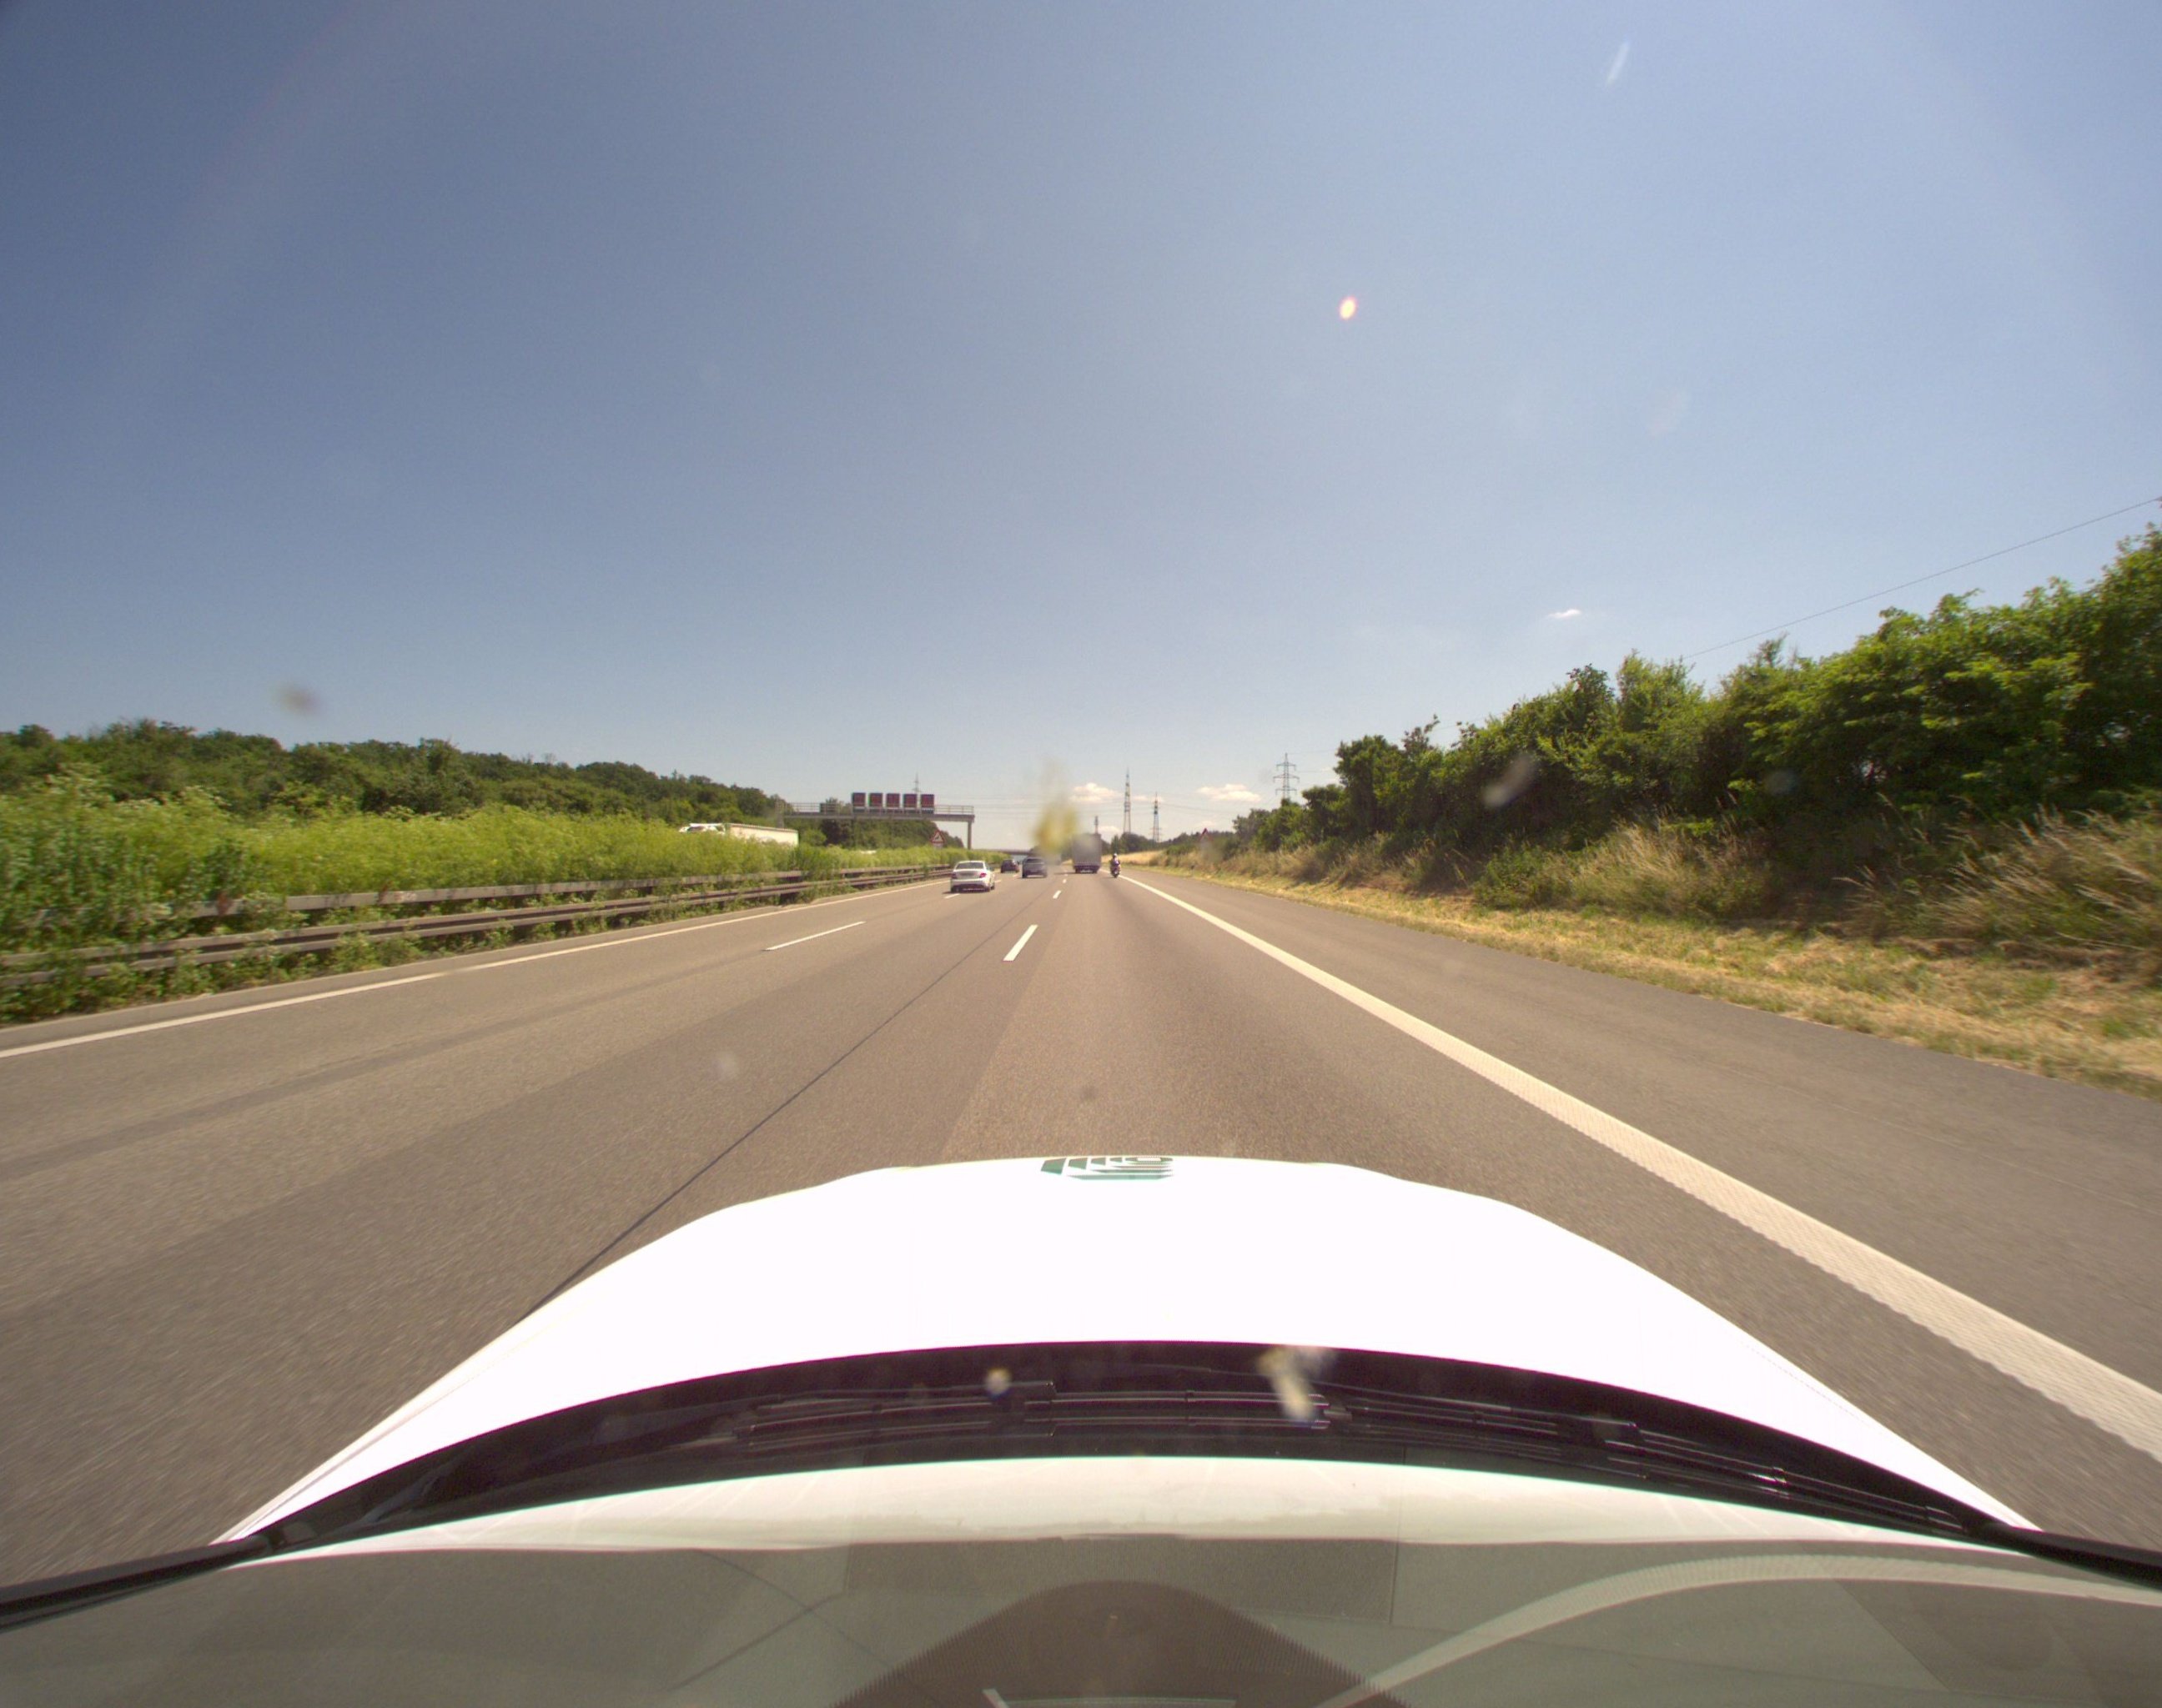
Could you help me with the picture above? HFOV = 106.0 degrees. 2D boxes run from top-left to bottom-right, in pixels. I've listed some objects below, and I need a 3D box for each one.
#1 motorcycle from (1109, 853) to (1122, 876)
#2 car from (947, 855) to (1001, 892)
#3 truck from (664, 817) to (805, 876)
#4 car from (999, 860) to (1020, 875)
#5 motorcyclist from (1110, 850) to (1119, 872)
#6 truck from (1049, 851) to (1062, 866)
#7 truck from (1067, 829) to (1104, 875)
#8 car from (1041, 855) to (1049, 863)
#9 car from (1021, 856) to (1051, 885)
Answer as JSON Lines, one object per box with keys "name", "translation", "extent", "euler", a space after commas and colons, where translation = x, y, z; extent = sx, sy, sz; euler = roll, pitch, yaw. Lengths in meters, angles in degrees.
{"name": "motorcycle", "translation": [2.374, 0.719, 56.266], "extent": [0.807, 1.607, 1.781], "euler": [-1, 0, -1]}
{"name": "car", "translation": [-4.865, 0.864, 37.556], "extent": [1.813, 1.540, 3.916], "euler": [-2, 0, 2]}
{"name": "truck", "translation": [-24.320, -0.509, 58.886], "extent": [2.796, 3.548, 16.834], "euler": [-2, 0, 0]}
{"name": "car", "translation": [-7.480, 1.375, 85.291], "extent": [1.751, 1.429, 3.999], "euler": [-2, 0, 0]}
{"name": "motorcyclist", "translation": [2.321, 0.498, 56.213], "extent": [0.570, 1.479, 0.700], "euler": [-2, 0, -1]}
{"name": "truck", "translation": [-6.875, 1.129, 220.413], "extent": [3.475, 3.912, 7.284], "euler": [-1, 0, -2]}
{"name": "truck", "translation": [0.331, -0.148, 75.905], "extent": [3.212, 3.924, 9.056], "euler": [-1, 0, -1]}
{"name": "car", "translation": [-9.151, 1.343, 206.011], "extent": [1.896, 1.925, 3.997], "euler": [-2, 0, -2]}
{"name": "car", "translation": [-3.320, 1.170, 60.686], "extent": [1.987, 2.013, 4.000], "euler": [-2, 0, 0]}
